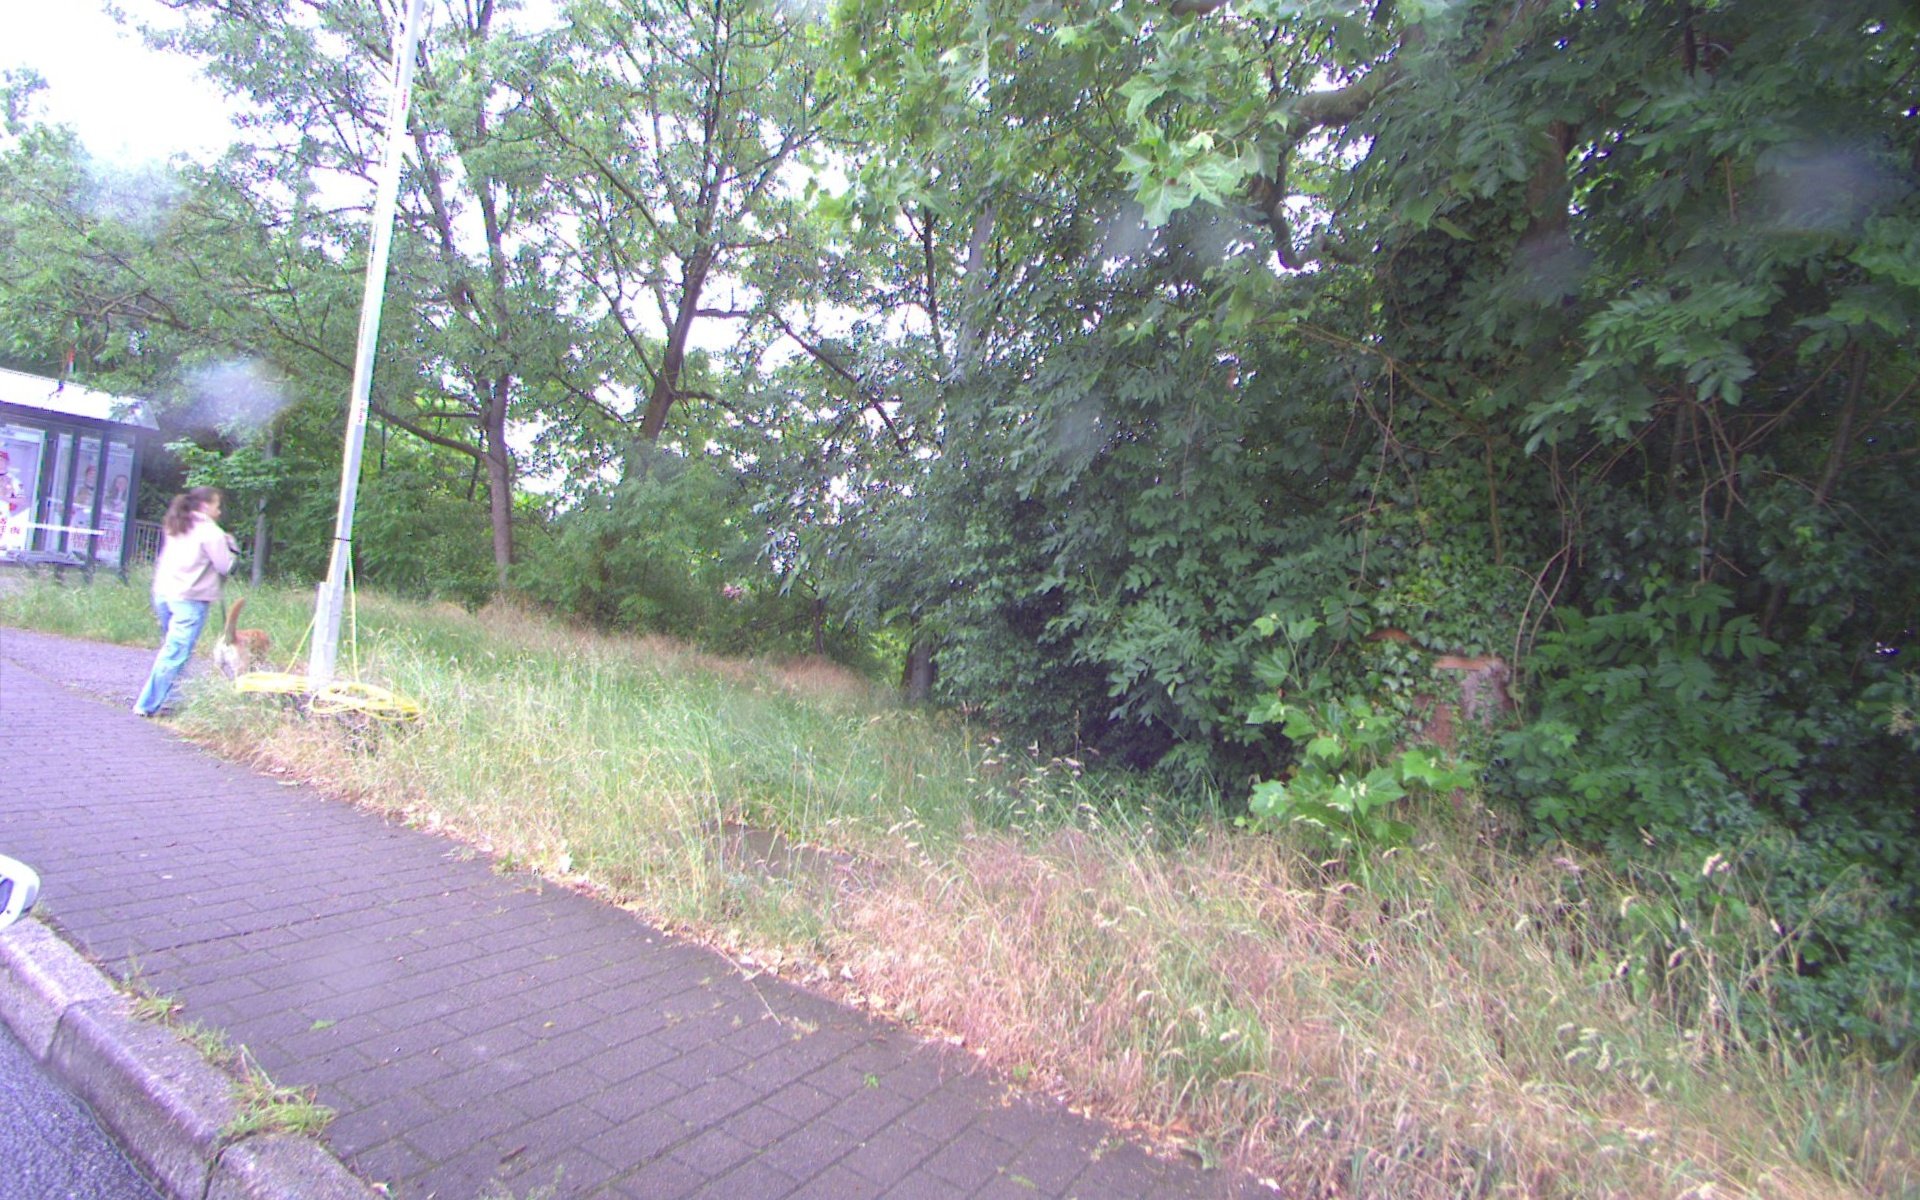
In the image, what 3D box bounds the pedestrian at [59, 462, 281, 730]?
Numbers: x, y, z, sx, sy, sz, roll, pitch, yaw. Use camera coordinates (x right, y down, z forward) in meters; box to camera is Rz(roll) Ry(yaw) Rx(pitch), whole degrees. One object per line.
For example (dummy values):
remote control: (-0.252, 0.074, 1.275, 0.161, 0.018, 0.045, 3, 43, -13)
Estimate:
pedestrian: (-5.277, -0.010, 6.778, 0.720, 1.622, 0.752, 7, -1, -6)
